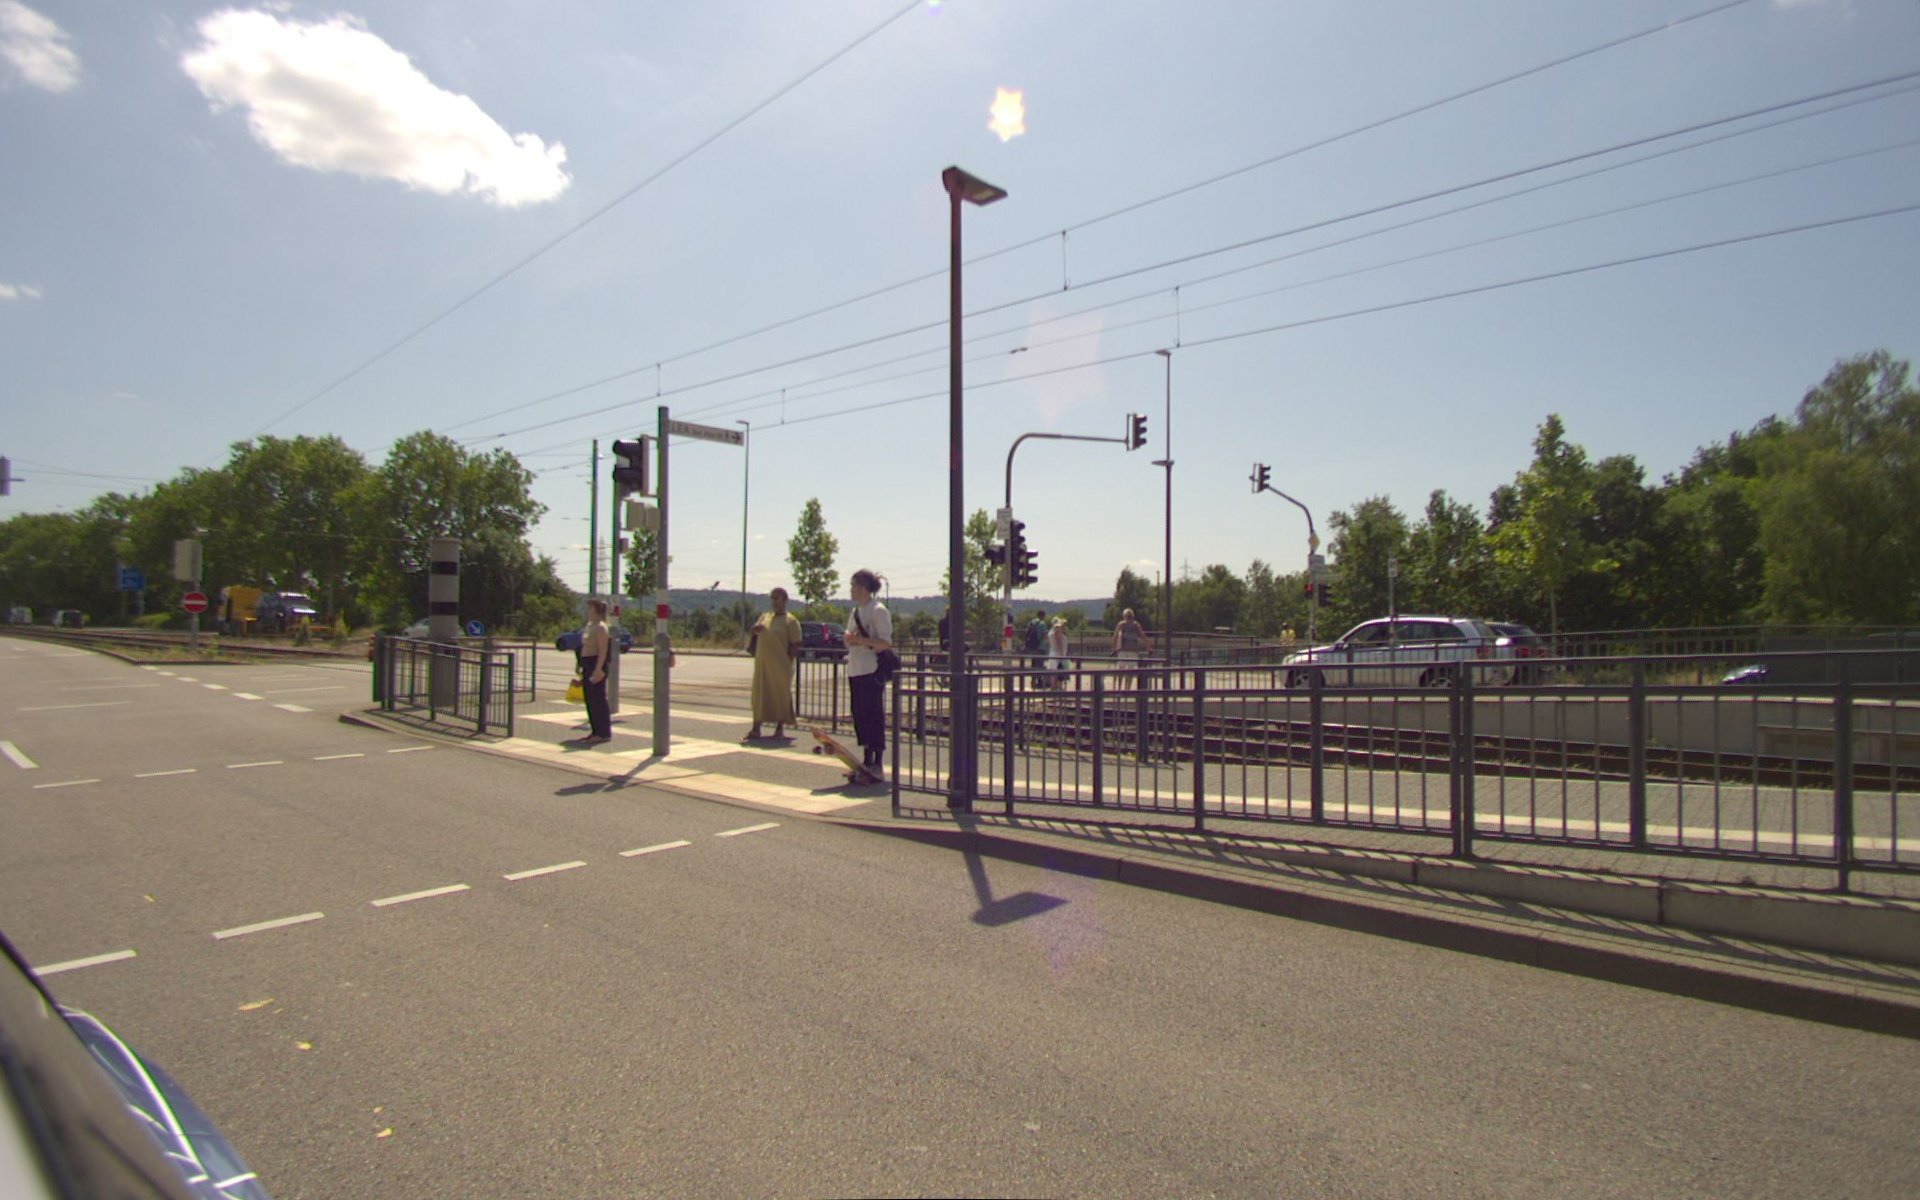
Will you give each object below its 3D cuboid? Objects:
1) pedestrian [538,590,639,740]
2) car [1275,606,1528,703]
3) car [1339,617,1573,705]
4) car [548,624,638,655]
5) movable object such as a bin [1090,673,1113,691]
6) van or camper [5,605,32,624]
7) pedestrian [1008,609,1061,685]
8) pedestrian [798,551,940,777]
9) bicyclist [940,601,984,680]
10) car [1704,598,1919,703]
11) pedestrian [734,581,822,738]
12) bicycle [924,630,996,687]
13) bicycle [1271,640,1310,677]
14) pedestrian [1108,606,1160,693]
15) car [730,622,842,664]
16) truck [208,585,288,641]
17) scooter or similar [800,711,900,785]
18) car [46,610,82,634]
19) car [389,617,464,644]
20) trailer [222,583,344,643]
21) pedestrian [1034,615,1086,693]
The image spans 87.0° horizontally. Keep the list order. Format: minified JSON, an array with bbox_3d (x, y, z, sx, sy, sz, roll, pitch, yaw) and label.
[{"bbox_3d":[-4.129,0.690,11.253,0.763,1.584,0.778,-1,-1,38],"label":"pedestrian"},{"bbox_3d":[8.330,0.975,19.284,3.999,1.641,1.972,-1,-2,42],"label":"car"},{"bbox_3d":[10.291,1.197,21.135,3.999,1.641,1.972,-1,-2,42],"label":"car"},{"bbox_3d":[-17.961,1.919,49.497,4.336,1.456,1.978,-1,-1,33],"label":"car"},{"bbox_3d":[2.849,1.650,20.363,0.229,0.323,0.565,-1,-2,37],"label":"movable object such as a bin"},{"bbox_3d":[-134.253,2.093,144.283,5.839,2.606,1.973,-1,-3,40],"label":"van or camper"},{"bbox_3d":[1.634,1.010,22.083,0.763,1.622,0.947,-1,-2,38],"label":"pedestrian"},{"bbox_3d":[-0.785,0.524,8.765,0.882,1.816,0.854,-1,-1,37],"label":"pedestrian"},{"bbox_3d":[0.039,0.846,21.479,0.729,1.627,0.660,-1,-1,25],"label":"bicyclist"},{"bbox_3d":[15.301,0.819,17.052,4.280,1.641,1.972,-1,-2,42],"label":"car"},{"bbox_3d":[-2.048,0.649,11.409,0.677,1.685,0.725,-1,-1,38],"label":"pedestrian"},{"bbox_3d":[0.022,1.203,21.418,0.760,1.109,1.961,-1,-1,25],"label":"bicycle"},{"bbox_3d":[11.350,1.984,34.746,1.511,1.202,0.591,1,-2,-42],"label":"bicycle"},{"bbox_3d":[3.486,0.976,20.249,0.763,1.685,0.754,-1,-2,38],"label":"pedestrian"},{"bbox_3d":[-7.143,1.748,41.519,4.292,1.642,1.979,-1,-2,31],"label":"car"},{"bbox_3d":[-53.806,1.009,76.407,7.469,4.069,3.094,-1,-2,40],"label":"truck"},{"bbox_3d":[-0.903,1.209,8.364,0.456,0.509,0.719,-1,-2,38],"label":"scooter or similar"},{"bbox_3d":[-89.878,2.228,101.516,4.430,1.852,1.973,-8,-10,40],"label":"car"},{"bbox_3d":[-30.703,1.726,58.223,4.265,1.474,1.978,-1,-1,32],"label":"car"},{"bbox_3d":[-48.138,0.971,71.610,15.471,3.900,3.083,-1,-2,40],"label":"trailer"},{"bbox_3d":[2.050,1.089,20.739,0.763,1.560,0.754,-1,-2,38],"label":"pedestrian"}]
